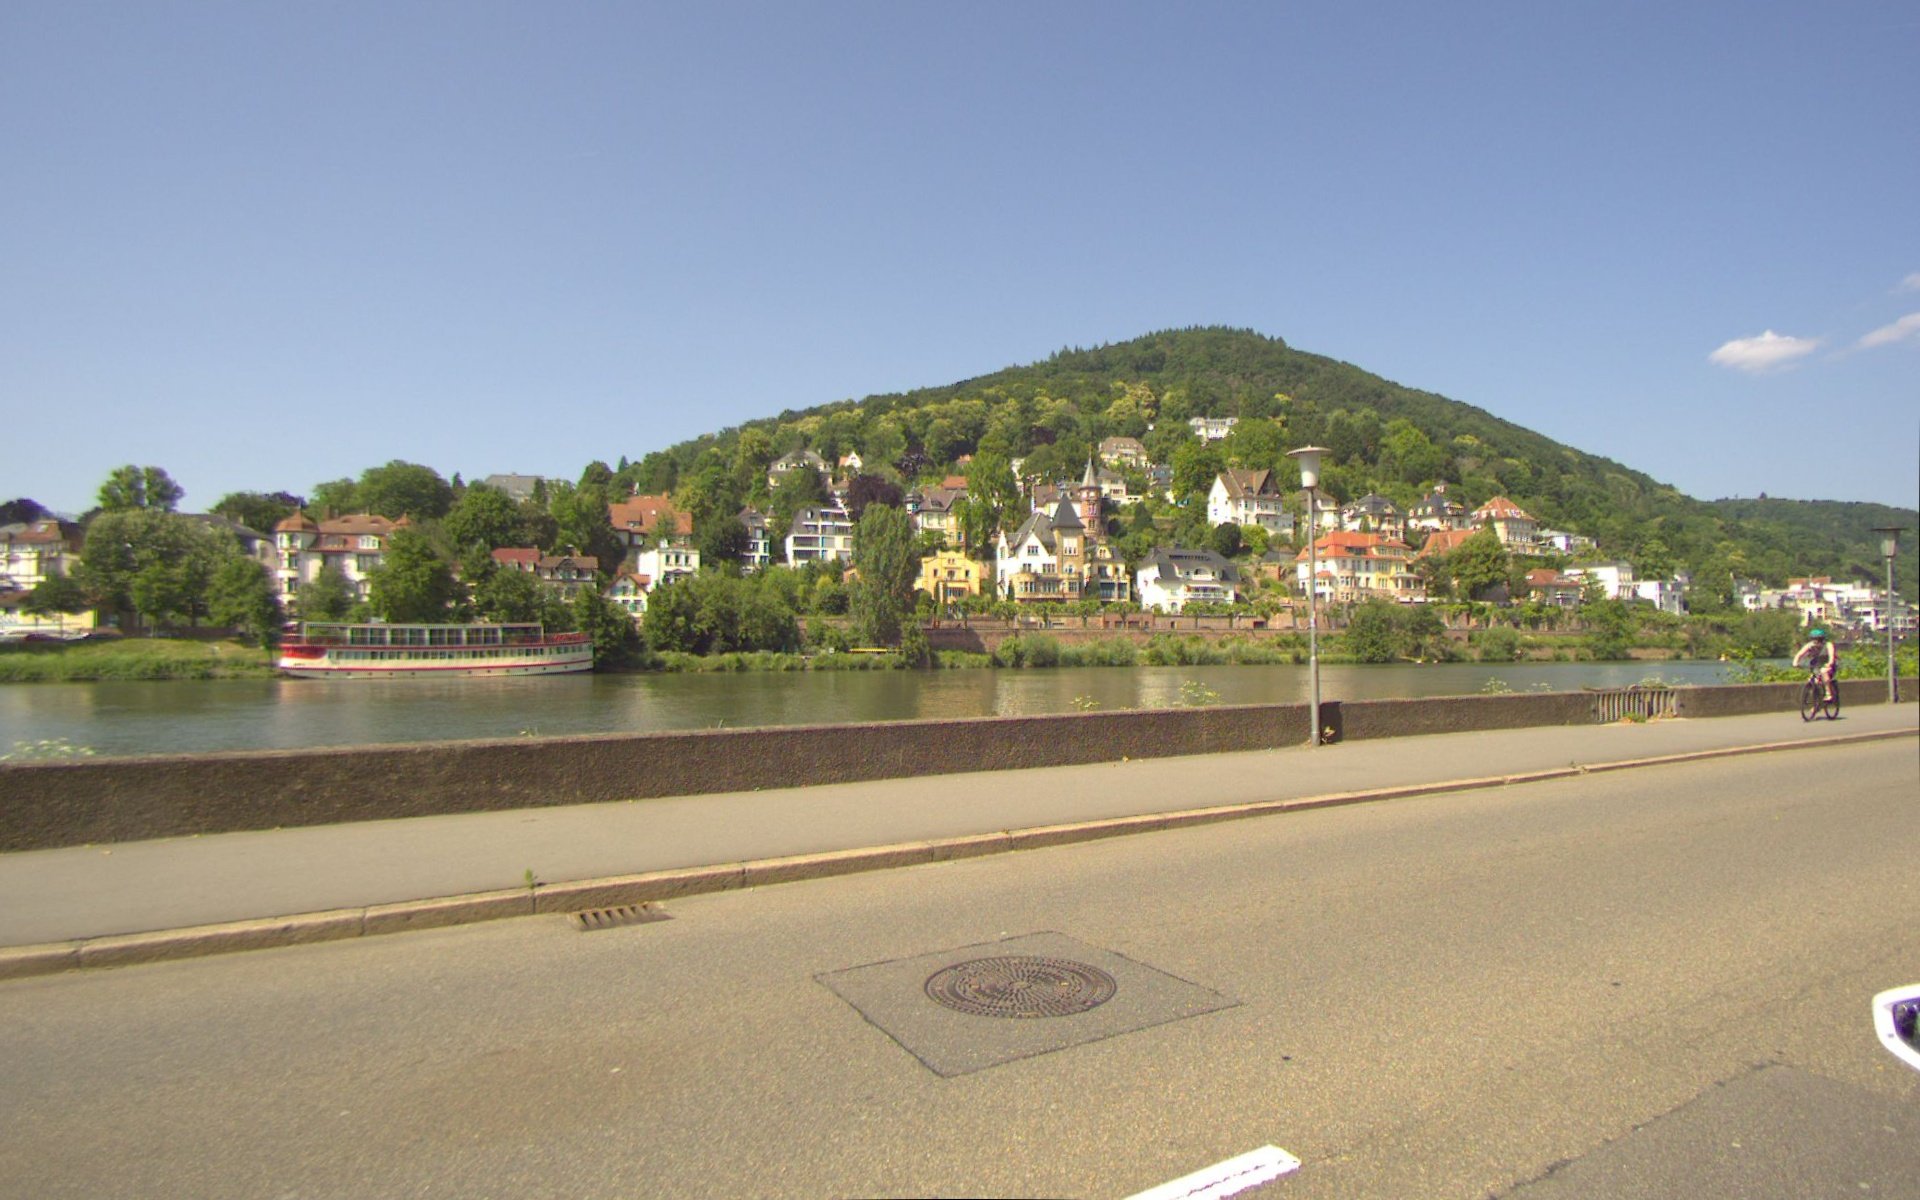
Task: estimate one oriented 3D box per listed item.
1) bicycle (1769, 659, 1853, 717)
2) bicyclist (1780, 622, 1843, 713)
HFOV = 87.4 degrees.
[{"bbox_3d":[16.280,1.664,19.206,1.963,1.025,0.629,1,-3,-32],"label":"bicycle"},{"bbox_3d":[16.271,1.272,19.193,0.861,1.695,0.634,1,-3,-31],"label":"bicyclist"}]
